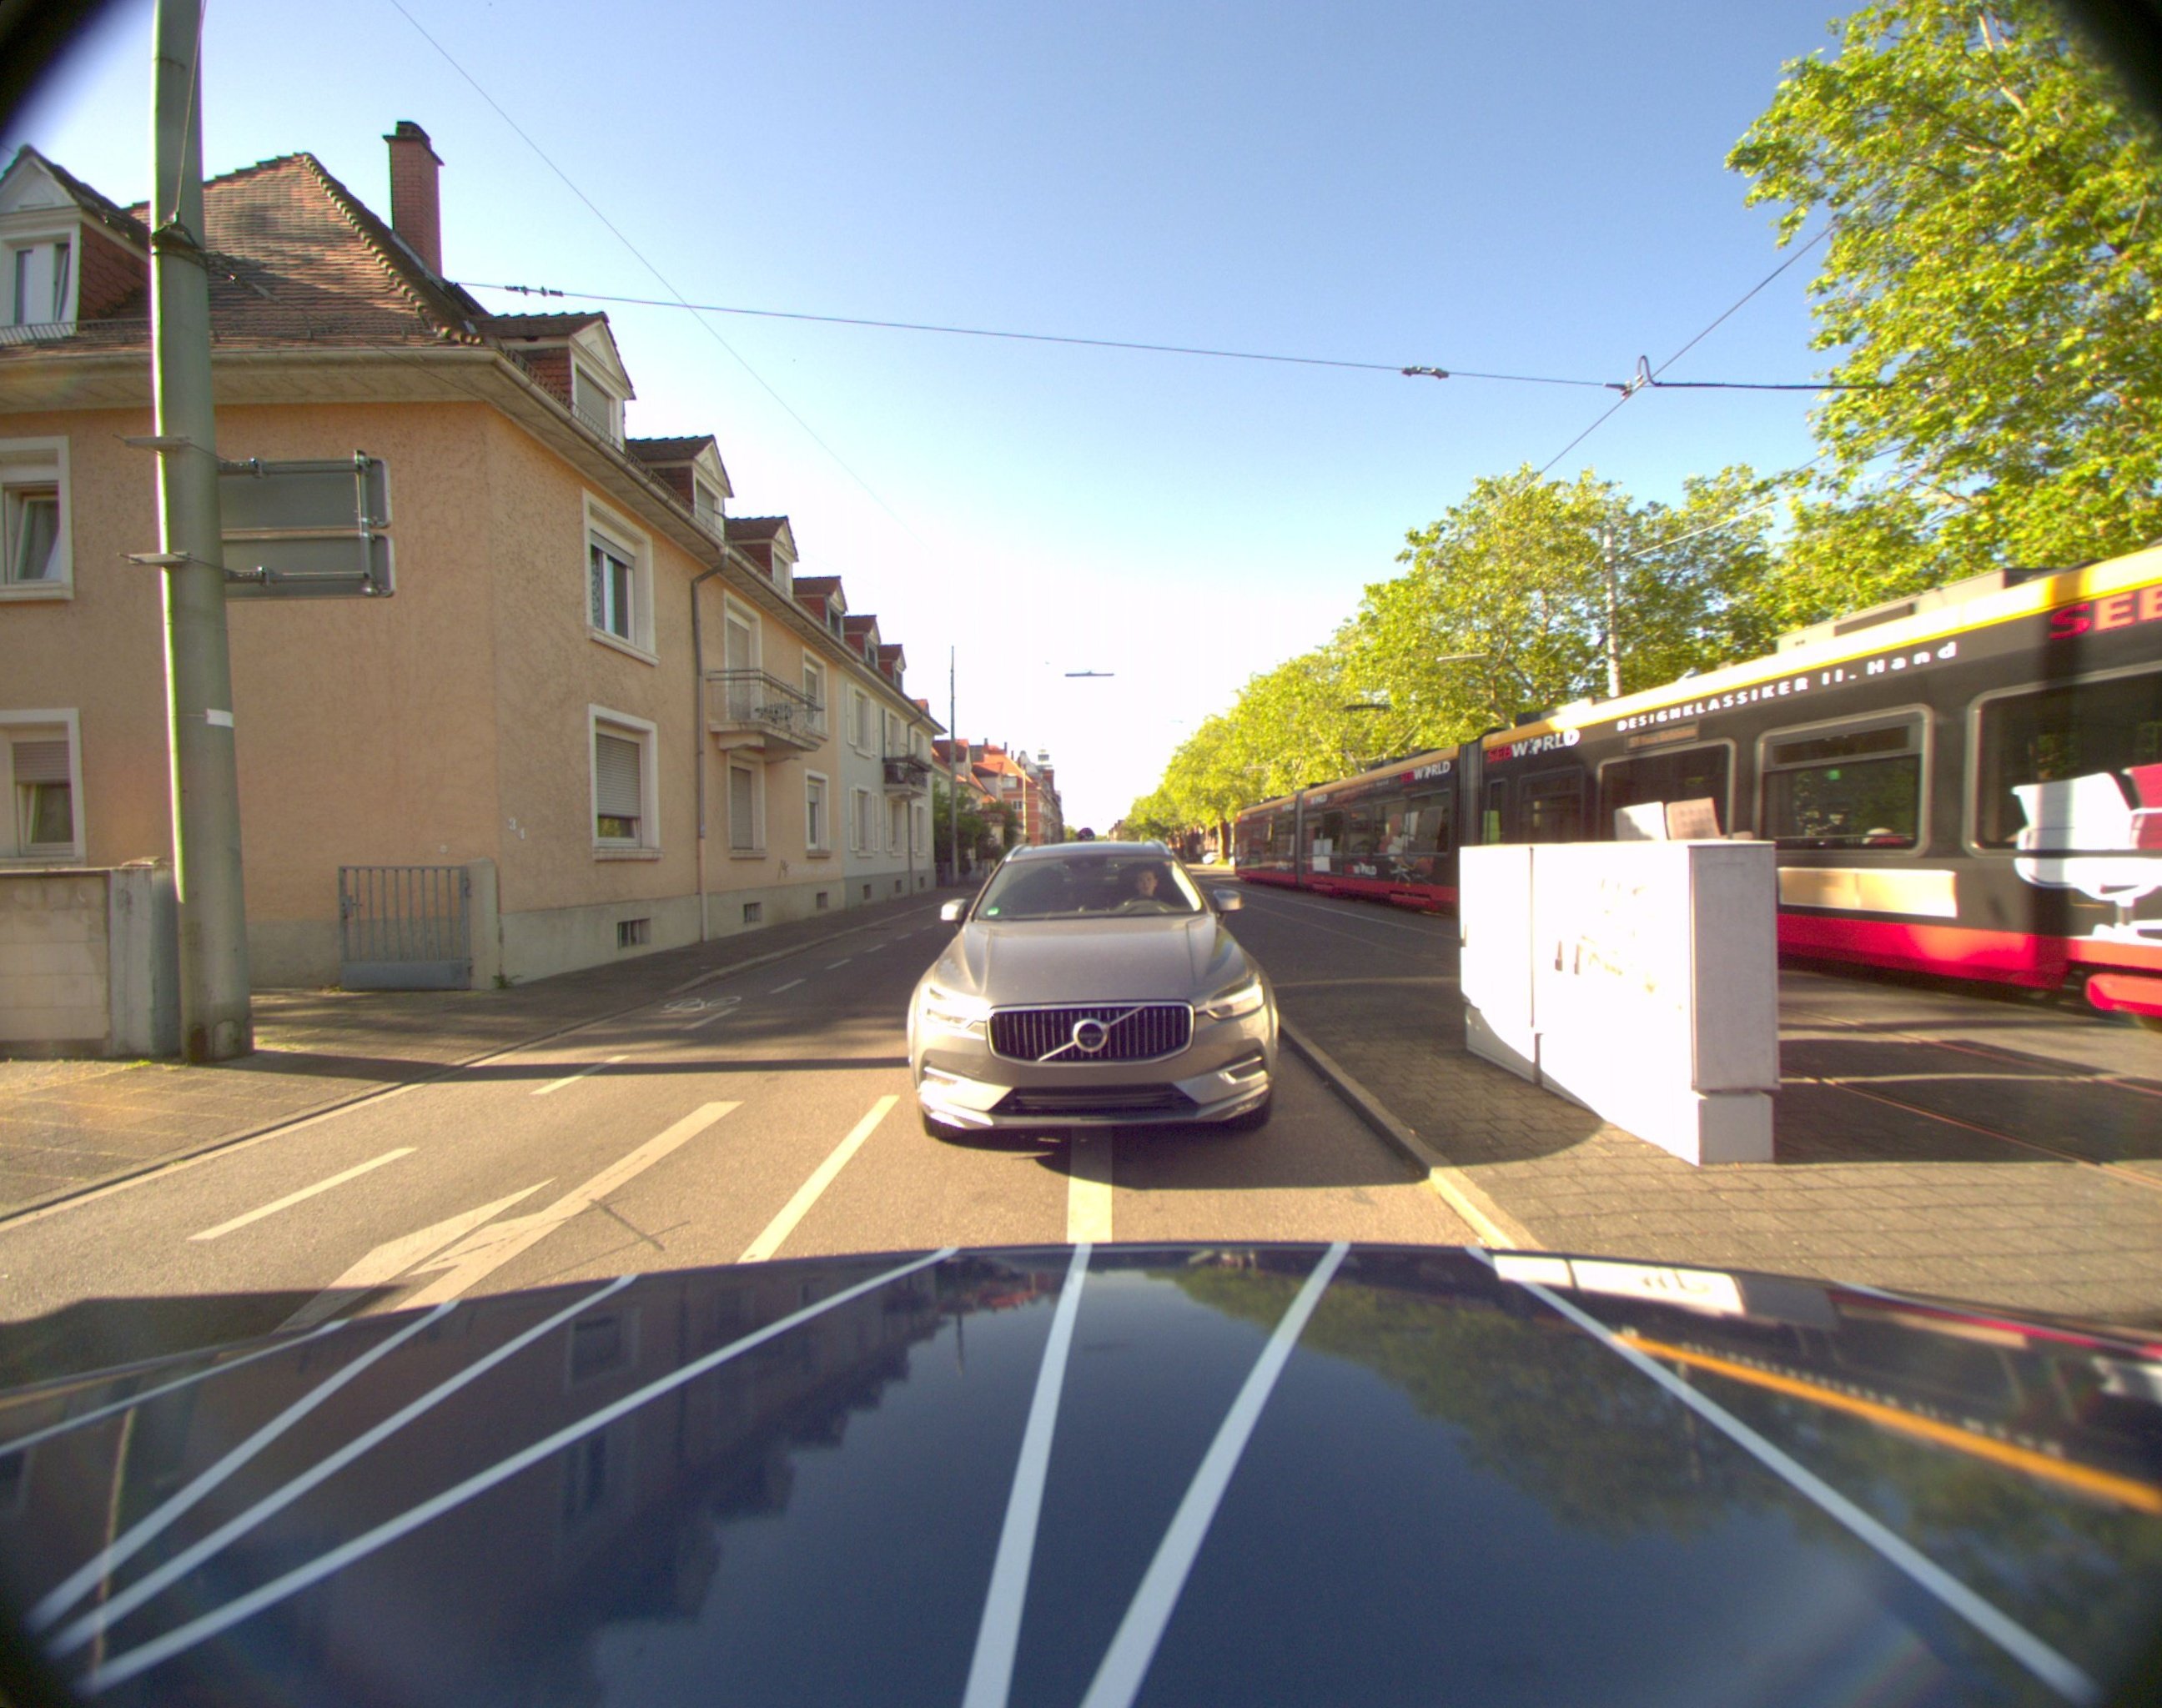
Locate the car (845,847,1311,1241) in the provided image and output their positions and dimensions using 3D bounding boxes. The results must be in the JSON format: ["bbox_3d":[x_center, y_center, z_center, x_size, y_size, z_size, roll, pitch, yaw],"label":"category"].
[{"bbox_3d":[0.018,0.789,5.428,1.917,1.621,4.502,-1,0,1],"label":"car"}]

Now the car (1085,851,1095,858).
[{"bbox_3d":[1.846,0.068,158.780,1.882,1.477,3.999,-1,0,-1],"label":"car"}]

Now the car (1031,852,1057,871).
[{"bbox_3d":[-2.944,0.575,61.152,1.882,1.477,3.999,-1,0,-1],"label":"car"}]

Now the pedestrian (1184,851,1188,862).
[{"bbox_3d":[15.397,0.354,111.640,0.578,1.632,0.677,-1,1,3],"label":"pedestrian"}]

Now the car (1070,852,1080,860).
[{"bbox_3d":[-1.118,0.299,148.582,1.882,1.477,3.999,-1,0,-1],"label":"car"}]

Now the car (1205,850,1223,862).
[{"bbox_3d":[17.628,0.256,100.849,1.882,1.542,4.000,-1,0,2],"label":"car"}]

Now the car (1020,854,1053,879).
[{"bbox_3d":[-2.821,0.777,48.455,1.882,1.477,3.999,-1,0,-1],"label":"car"}]

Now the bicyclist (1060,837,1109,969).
[{"bbox_3d":[0.049,0.641,10.200,0.600,1.709,0.662,-1,1,1],"label":"bicyclist"}]

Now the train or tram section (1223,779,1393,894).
[{"bbox_3d":[8.467,-0.587,30.742,3.063,3.592,12.888,-1,0,1],"label":"train or tram section"}]

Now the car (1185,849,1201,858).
[{"bbox_3d":[18.518,-0.103,125.661,1.882,1.542,3.999,-1,0,-2],"label":"car"}]

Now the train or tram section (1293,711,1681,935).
[{"bbox_3d":[8.309,-0.534,18.381,3.063,3.592,11.949,-1,0,1],"label":"train or tram section"}]

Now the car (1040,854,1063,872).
[{"bbox_3d":[-2.617,0.762,67.540,1.882,1.477,3.999,-1,0,-1],"label":"car"}]

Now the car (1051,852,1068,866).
[{"bbox_3d":[-2.404,0.541,85.669,1.882,1.477,3.999,-1,0,-1],"label":"car"}]

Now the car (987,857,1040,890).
[{"bbox_3d":[-3.246,0.916,37.158,1.881,1.477,4.001,-1,0,5],"label":"car"}]

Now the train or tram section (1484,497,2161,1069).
[{"bbox_3d":[8.285,-0.475,6.373,3.063,3.592,12.111,-1,0,-2],"label":"train or tram section"}]

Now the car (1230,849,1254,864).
[{"bbox_3d":[17.702,0.263,83.546,1.882,1.542,4.000,-1,0,2],"label":"car"}]

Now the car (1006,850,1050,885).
[{"bbox_3d":[-2.907,0.721,42.908,1.932,1.834,5.313,-1,0,2],"label":"car"}]
